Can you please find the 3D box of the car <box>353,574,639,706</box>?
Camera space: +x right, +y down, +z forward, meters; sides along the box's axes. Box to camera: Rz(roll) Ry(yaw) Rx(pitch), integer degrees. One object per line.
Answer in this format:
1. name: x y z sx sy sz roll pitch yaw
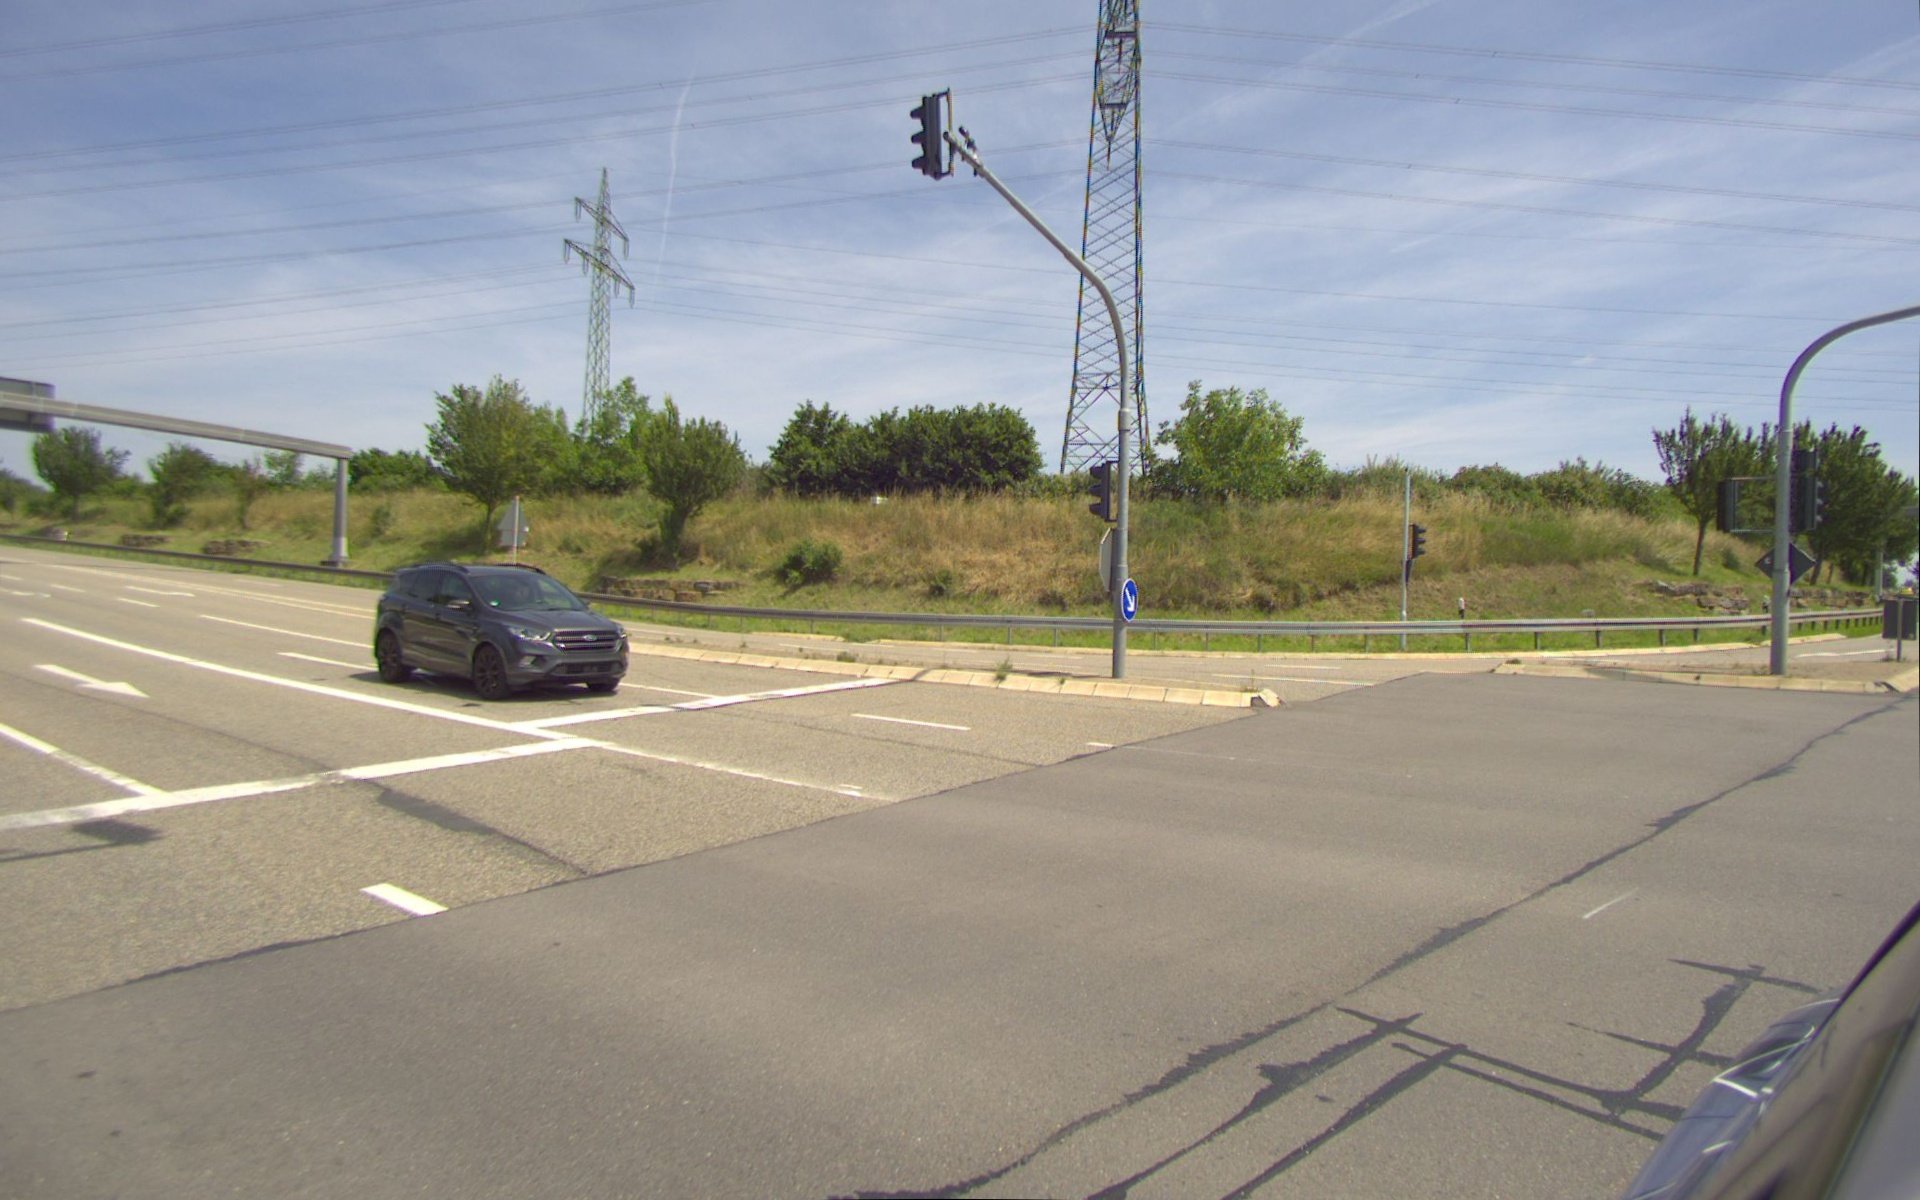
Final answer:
1. car: -6.470 0.421 13.928 4.346 1.529 1.694 1 2 36
